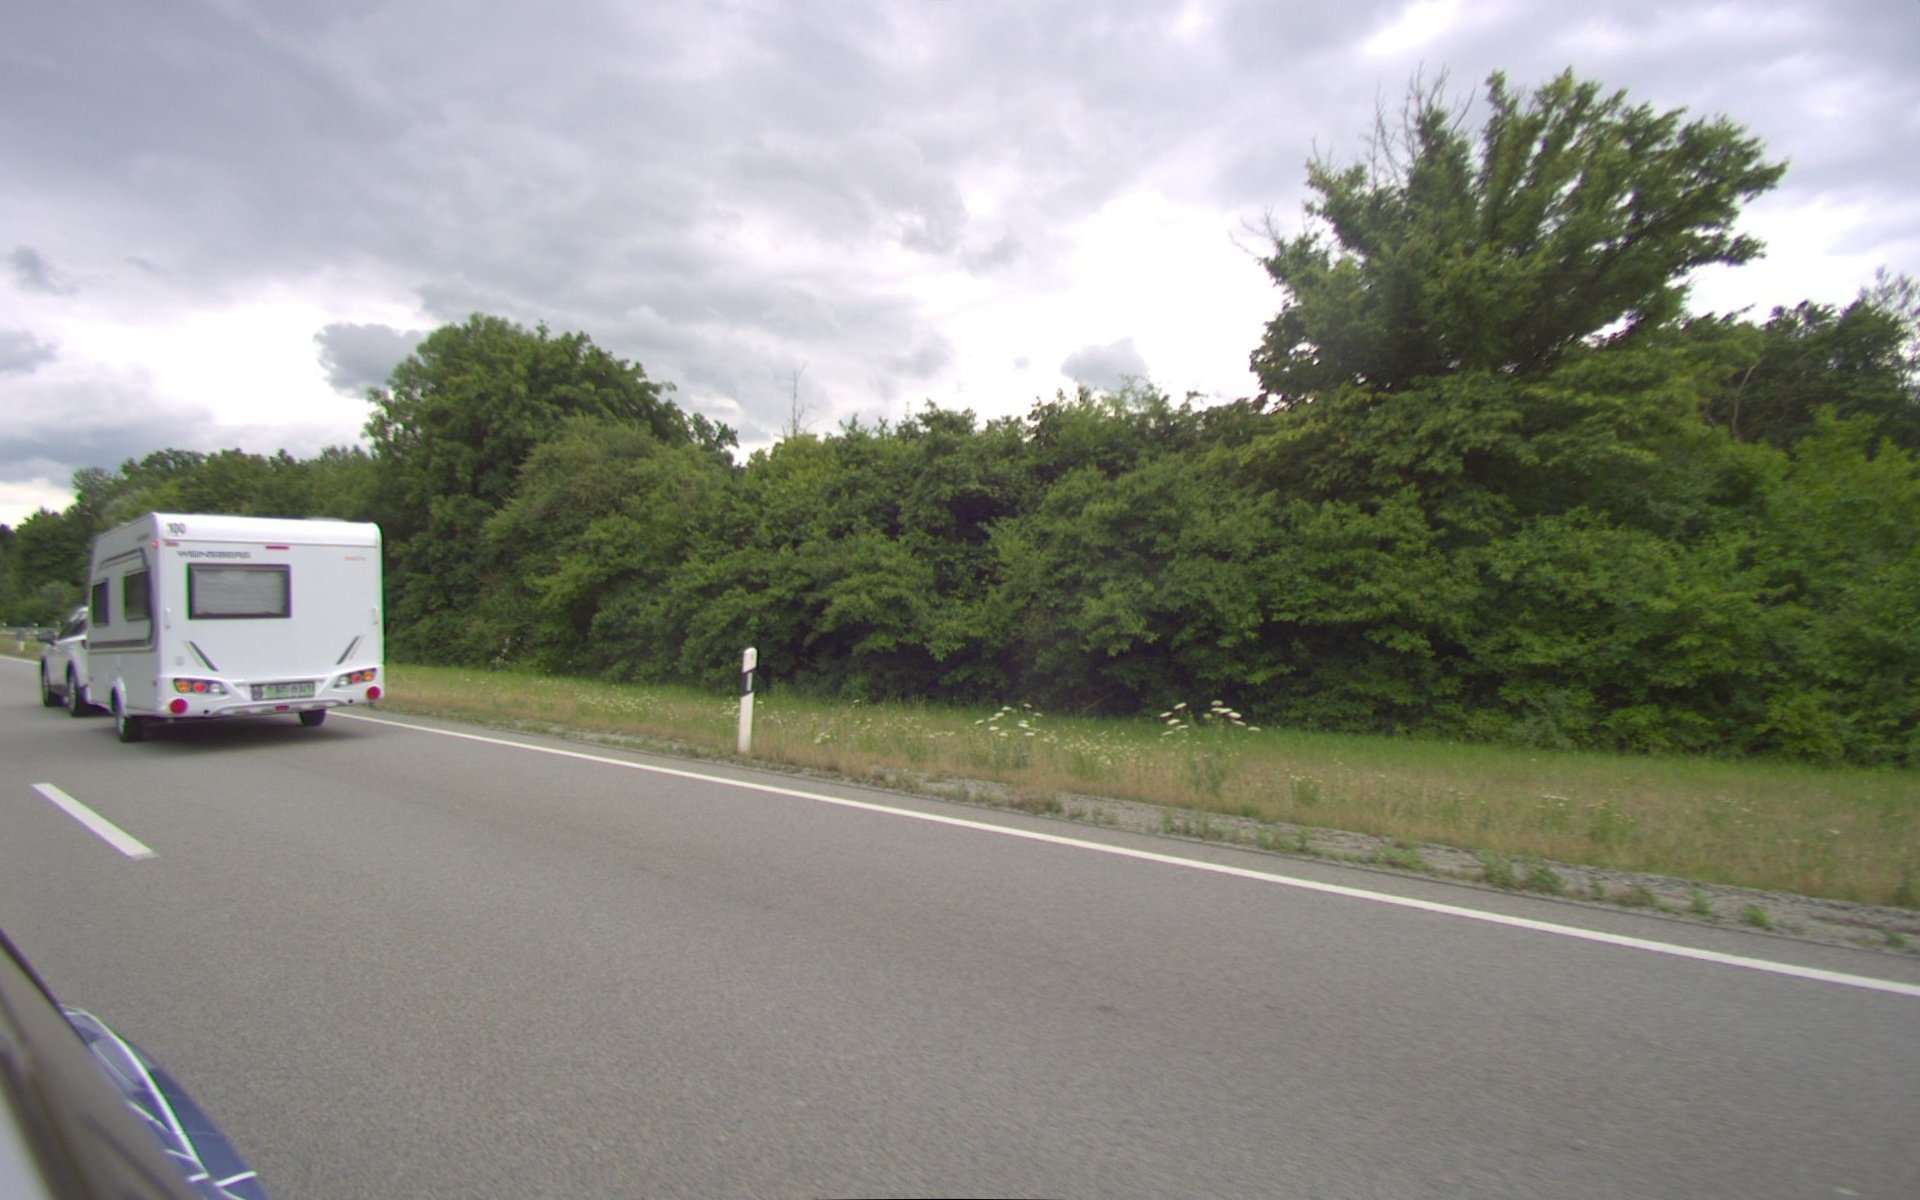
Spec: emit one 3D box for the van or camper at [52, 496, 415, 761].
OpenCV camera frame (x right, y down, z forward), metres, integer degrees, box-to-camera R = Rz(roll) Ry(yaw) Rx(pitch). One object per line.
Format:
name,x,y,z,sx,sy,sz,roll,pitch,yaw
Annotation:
van or camper,-9.462,0.315,12.894,6.275,2.594,2.355,-1,0,41

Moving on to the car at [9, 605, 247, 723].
car,-13.627,0.927,16.477,4.689,1.615,2.255,-1,0,41
